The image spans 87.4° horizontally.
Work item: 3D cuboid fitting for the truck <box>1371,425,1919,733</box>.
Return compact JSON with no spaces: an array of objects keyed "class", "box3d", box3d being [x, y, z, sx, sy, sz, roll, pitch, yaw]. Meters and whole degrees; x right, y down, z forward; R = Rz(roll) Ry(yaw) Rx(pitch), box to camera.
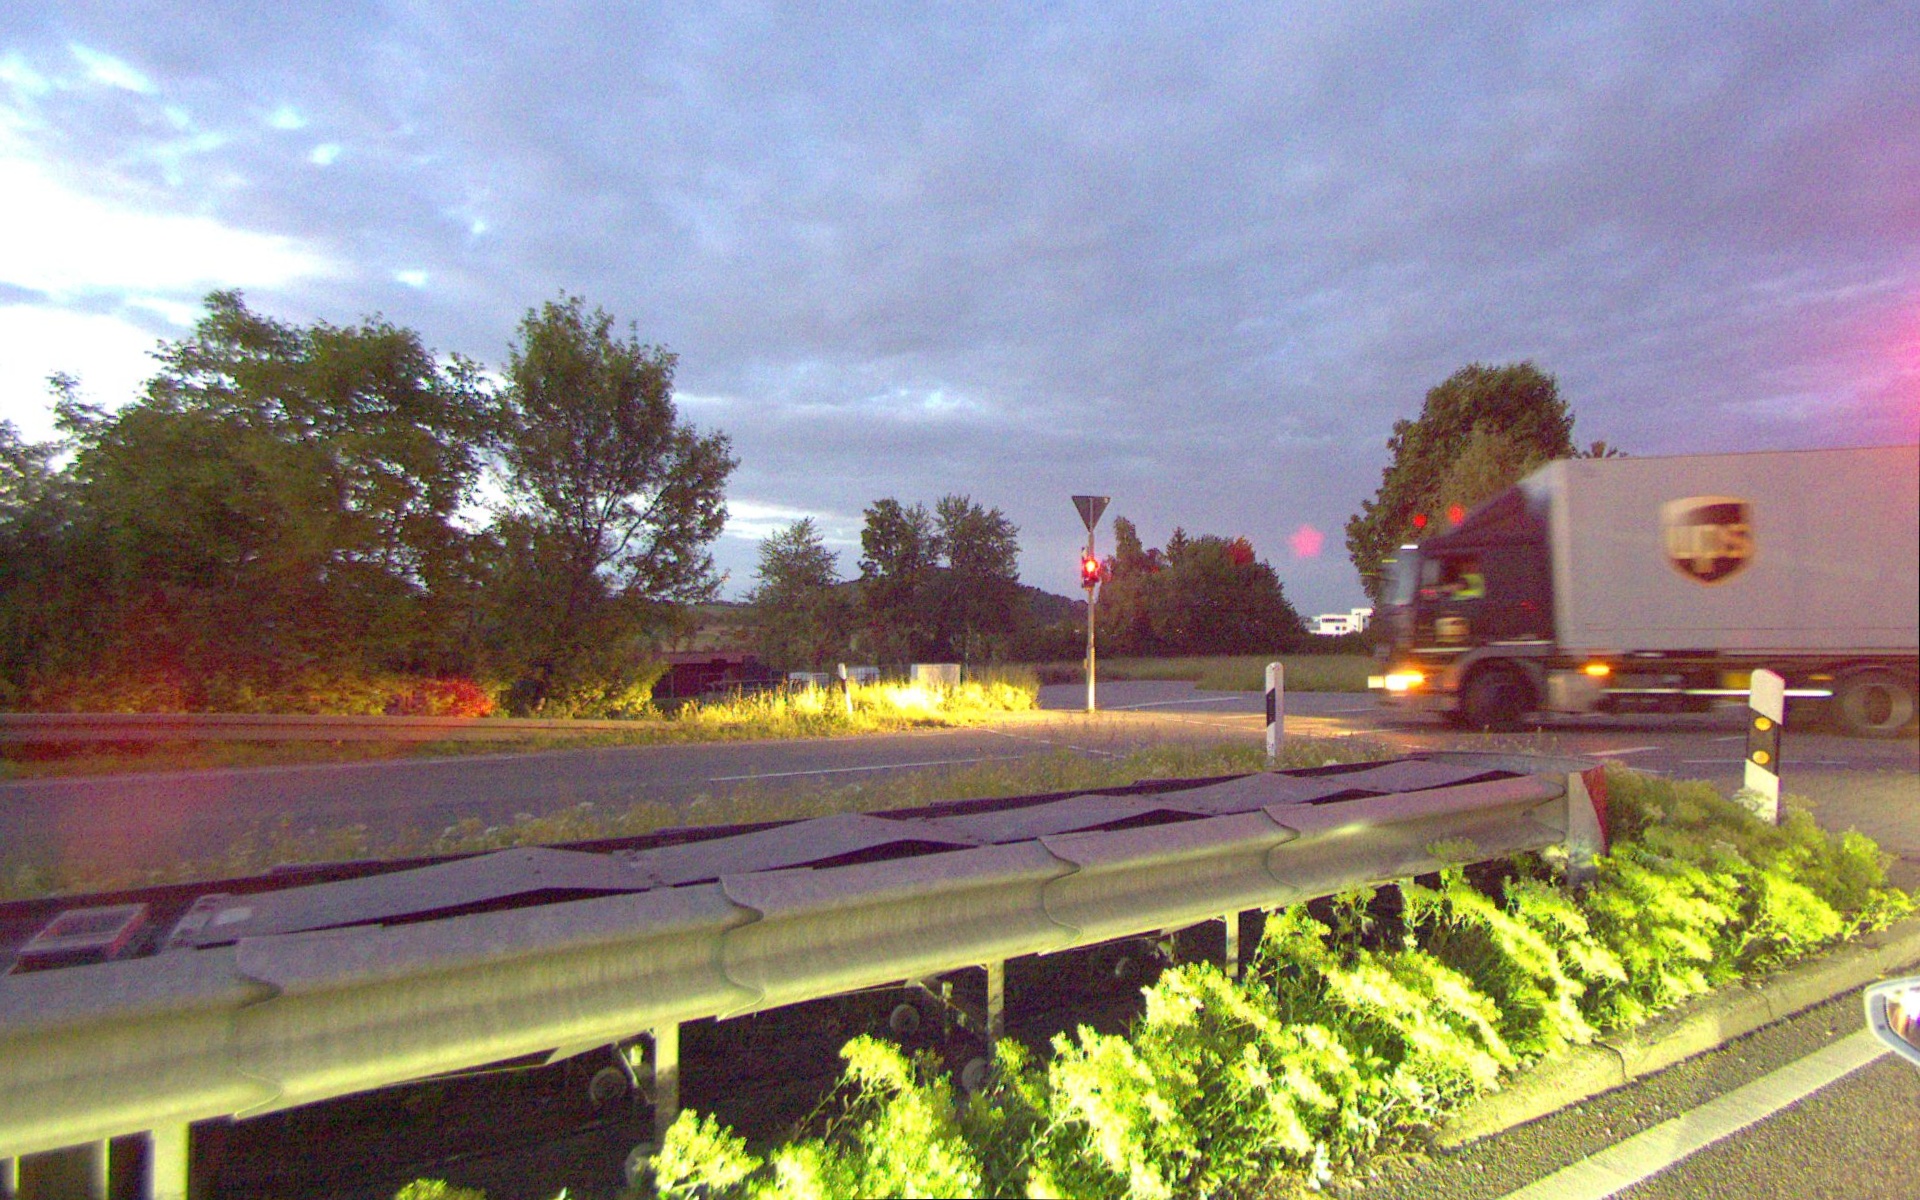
[{"class":"truck","box3d":[11.919,-0.274,15.321,10.137,4.172,2.736,1,-1,15]}]
